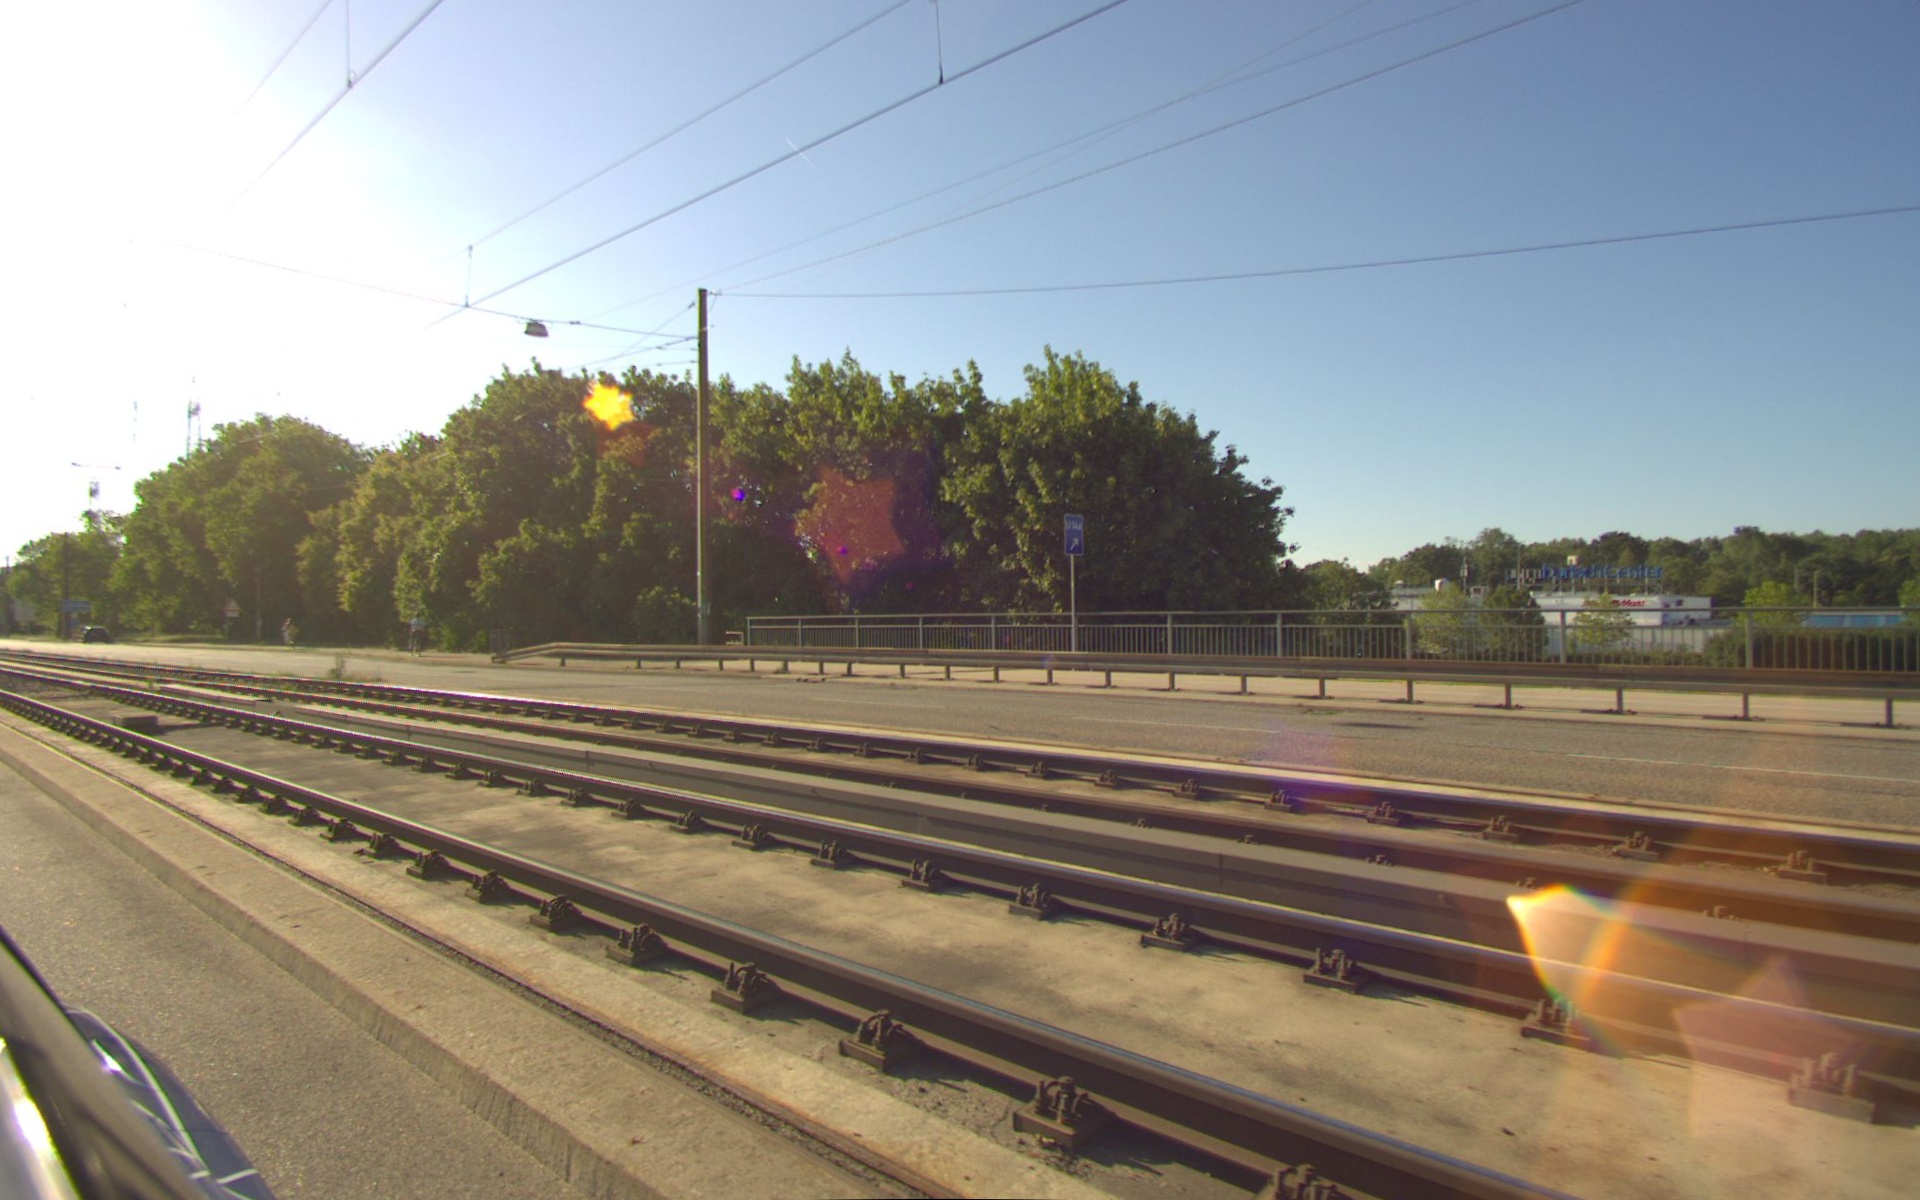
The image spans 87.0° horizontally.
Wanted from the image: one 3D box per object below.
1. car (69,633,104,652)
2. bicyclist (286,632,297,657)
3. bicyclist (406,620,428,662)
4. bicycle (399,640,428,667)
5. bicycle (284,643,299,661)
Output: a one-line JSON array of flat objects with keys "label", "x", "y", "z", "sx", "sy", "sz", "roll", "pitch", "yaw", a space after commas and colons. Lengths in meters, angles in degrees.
[{"label": "car", "x": -79.993, "y": 3.878, "z": 92.646, "sx": 3.956, "sy": 1.533, "sz": 1.952, "roll": -1, "pitch": 0, "yaw": 42}, {"label": "bicyclist", "x": -38.384, "y": 2.543, "z": 58.099, "sx": 0.417, "sy": 1.439, "sz": 0.755, "roll": -1, "pitch": 0, "yaw": -43}, {"label": "bicyclist", "x": -22.772, "y": 1.709, "z": 42.431, "sx": 0.833, "sy": 1.764, "sz": 0.492, "roll": -1, "pitch": 0, "yaw": 41}, {"label": "bicycle", "x": -23.049, "y": 2.234, "z": 42.687, "sx": 1.727, "sy": 1.060, "sz": 0.498, "roll": -1, "pitch": 0, "yaw": 41}, {"label": "bicycle", "x": -38.408, "y": 2.957, "z": 58.130, "sx": 0.420, "sy": 0.971, "sz": 1.915, "roll": -1, "pitch": 0, "yaw": -43}]
